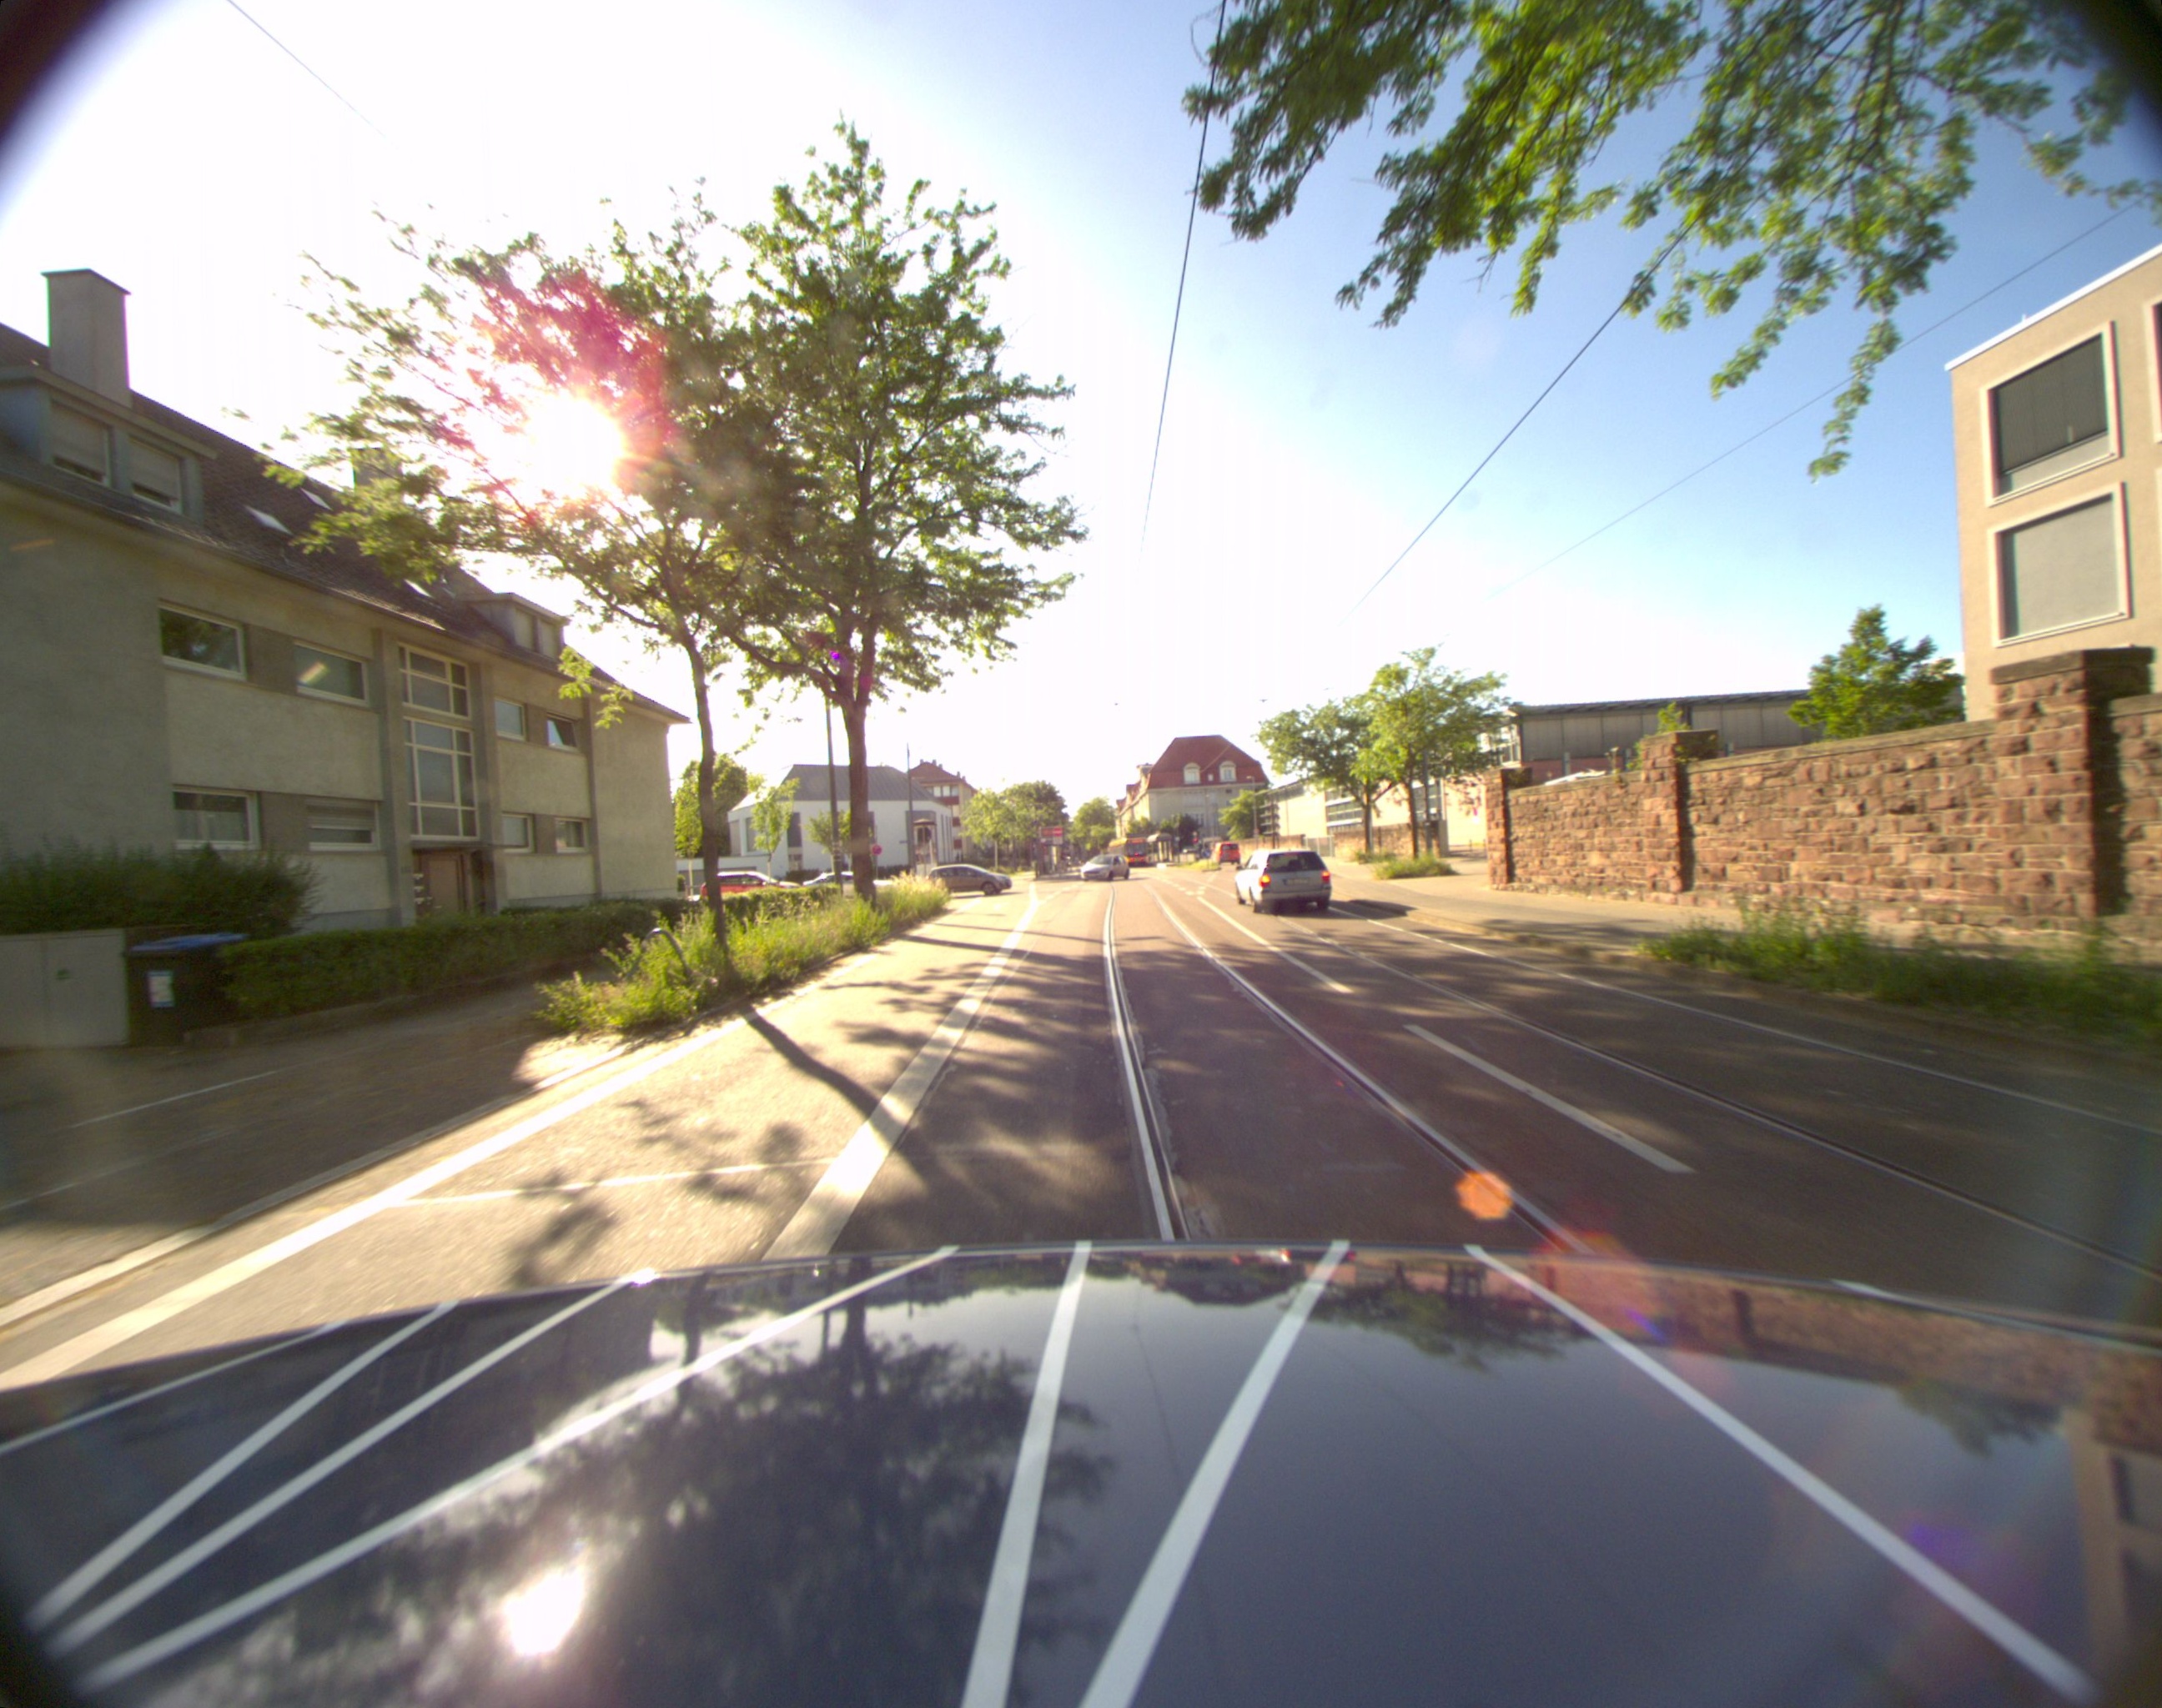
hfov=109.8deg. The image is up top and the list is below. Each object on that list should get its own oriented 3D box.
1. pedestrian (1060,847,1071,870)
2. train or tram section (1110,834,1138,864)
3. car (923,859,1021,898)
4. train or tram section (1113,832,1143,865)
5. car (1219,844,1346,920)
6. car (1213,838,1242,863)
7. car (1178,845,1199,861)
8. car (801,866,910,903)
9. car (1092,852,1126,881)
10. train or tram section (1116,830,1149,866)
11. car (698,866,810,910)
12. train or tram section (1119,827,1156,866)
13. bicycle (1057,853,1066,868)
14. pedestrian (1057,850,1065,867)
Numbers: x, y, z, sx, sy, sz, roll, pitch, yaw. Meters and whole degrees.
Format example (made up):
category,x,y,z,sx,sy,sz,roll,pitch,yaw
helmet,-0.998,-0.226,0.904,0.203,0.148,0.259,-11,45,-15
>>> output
category,x,y,z,sx,sy,sz,roll,pitch,yaw
pedestrian,-1.332,0.371,64.814,0.712,1.843,0.729,-5,1,1
train or tram section,5.230,-0.600,93.202,2.811,3.439,6.667,-4,0,-1
car,-5.048,1.142,35.483,3.994,1.499,1.983,-4,0,9
train or tram section,5.286,-0.612,86.544,2.811,3.439,6.667,-4,0,-1
car,4.724,0.583,18.542,1.998,1.515,4.580,-4,0,3
car,12.505,-0.309,65.041,1.997,1.954,4.936,-3,0,7
car,11.895,-0.073,84.349,1.769,1.654,4.210,-3,0,0
car,-10.908,1.471,36.906,4.611,1.458,1.983,-3,2,11
car,1.621,0.678,43.294,1.741,1.450,3.694,-3,0,3
train or tram section,5.342,-0.625,79.891,2.811,3.439,6.667,-4,0,-1
car,-14.839,1.517,34.668,4.174,1.632,1.981,-4,0,-2
train or tram section,5.372,-0.658,73.209,2.811,3.439,6.667,-4,0,-1
bicycle,-1.700,0.585,67.193,0.621,1.222,1.966,-4,0,-4
pedestrian,-2.031,0.464,76.718,0.673,1.694,0.690,-5,1,-2
